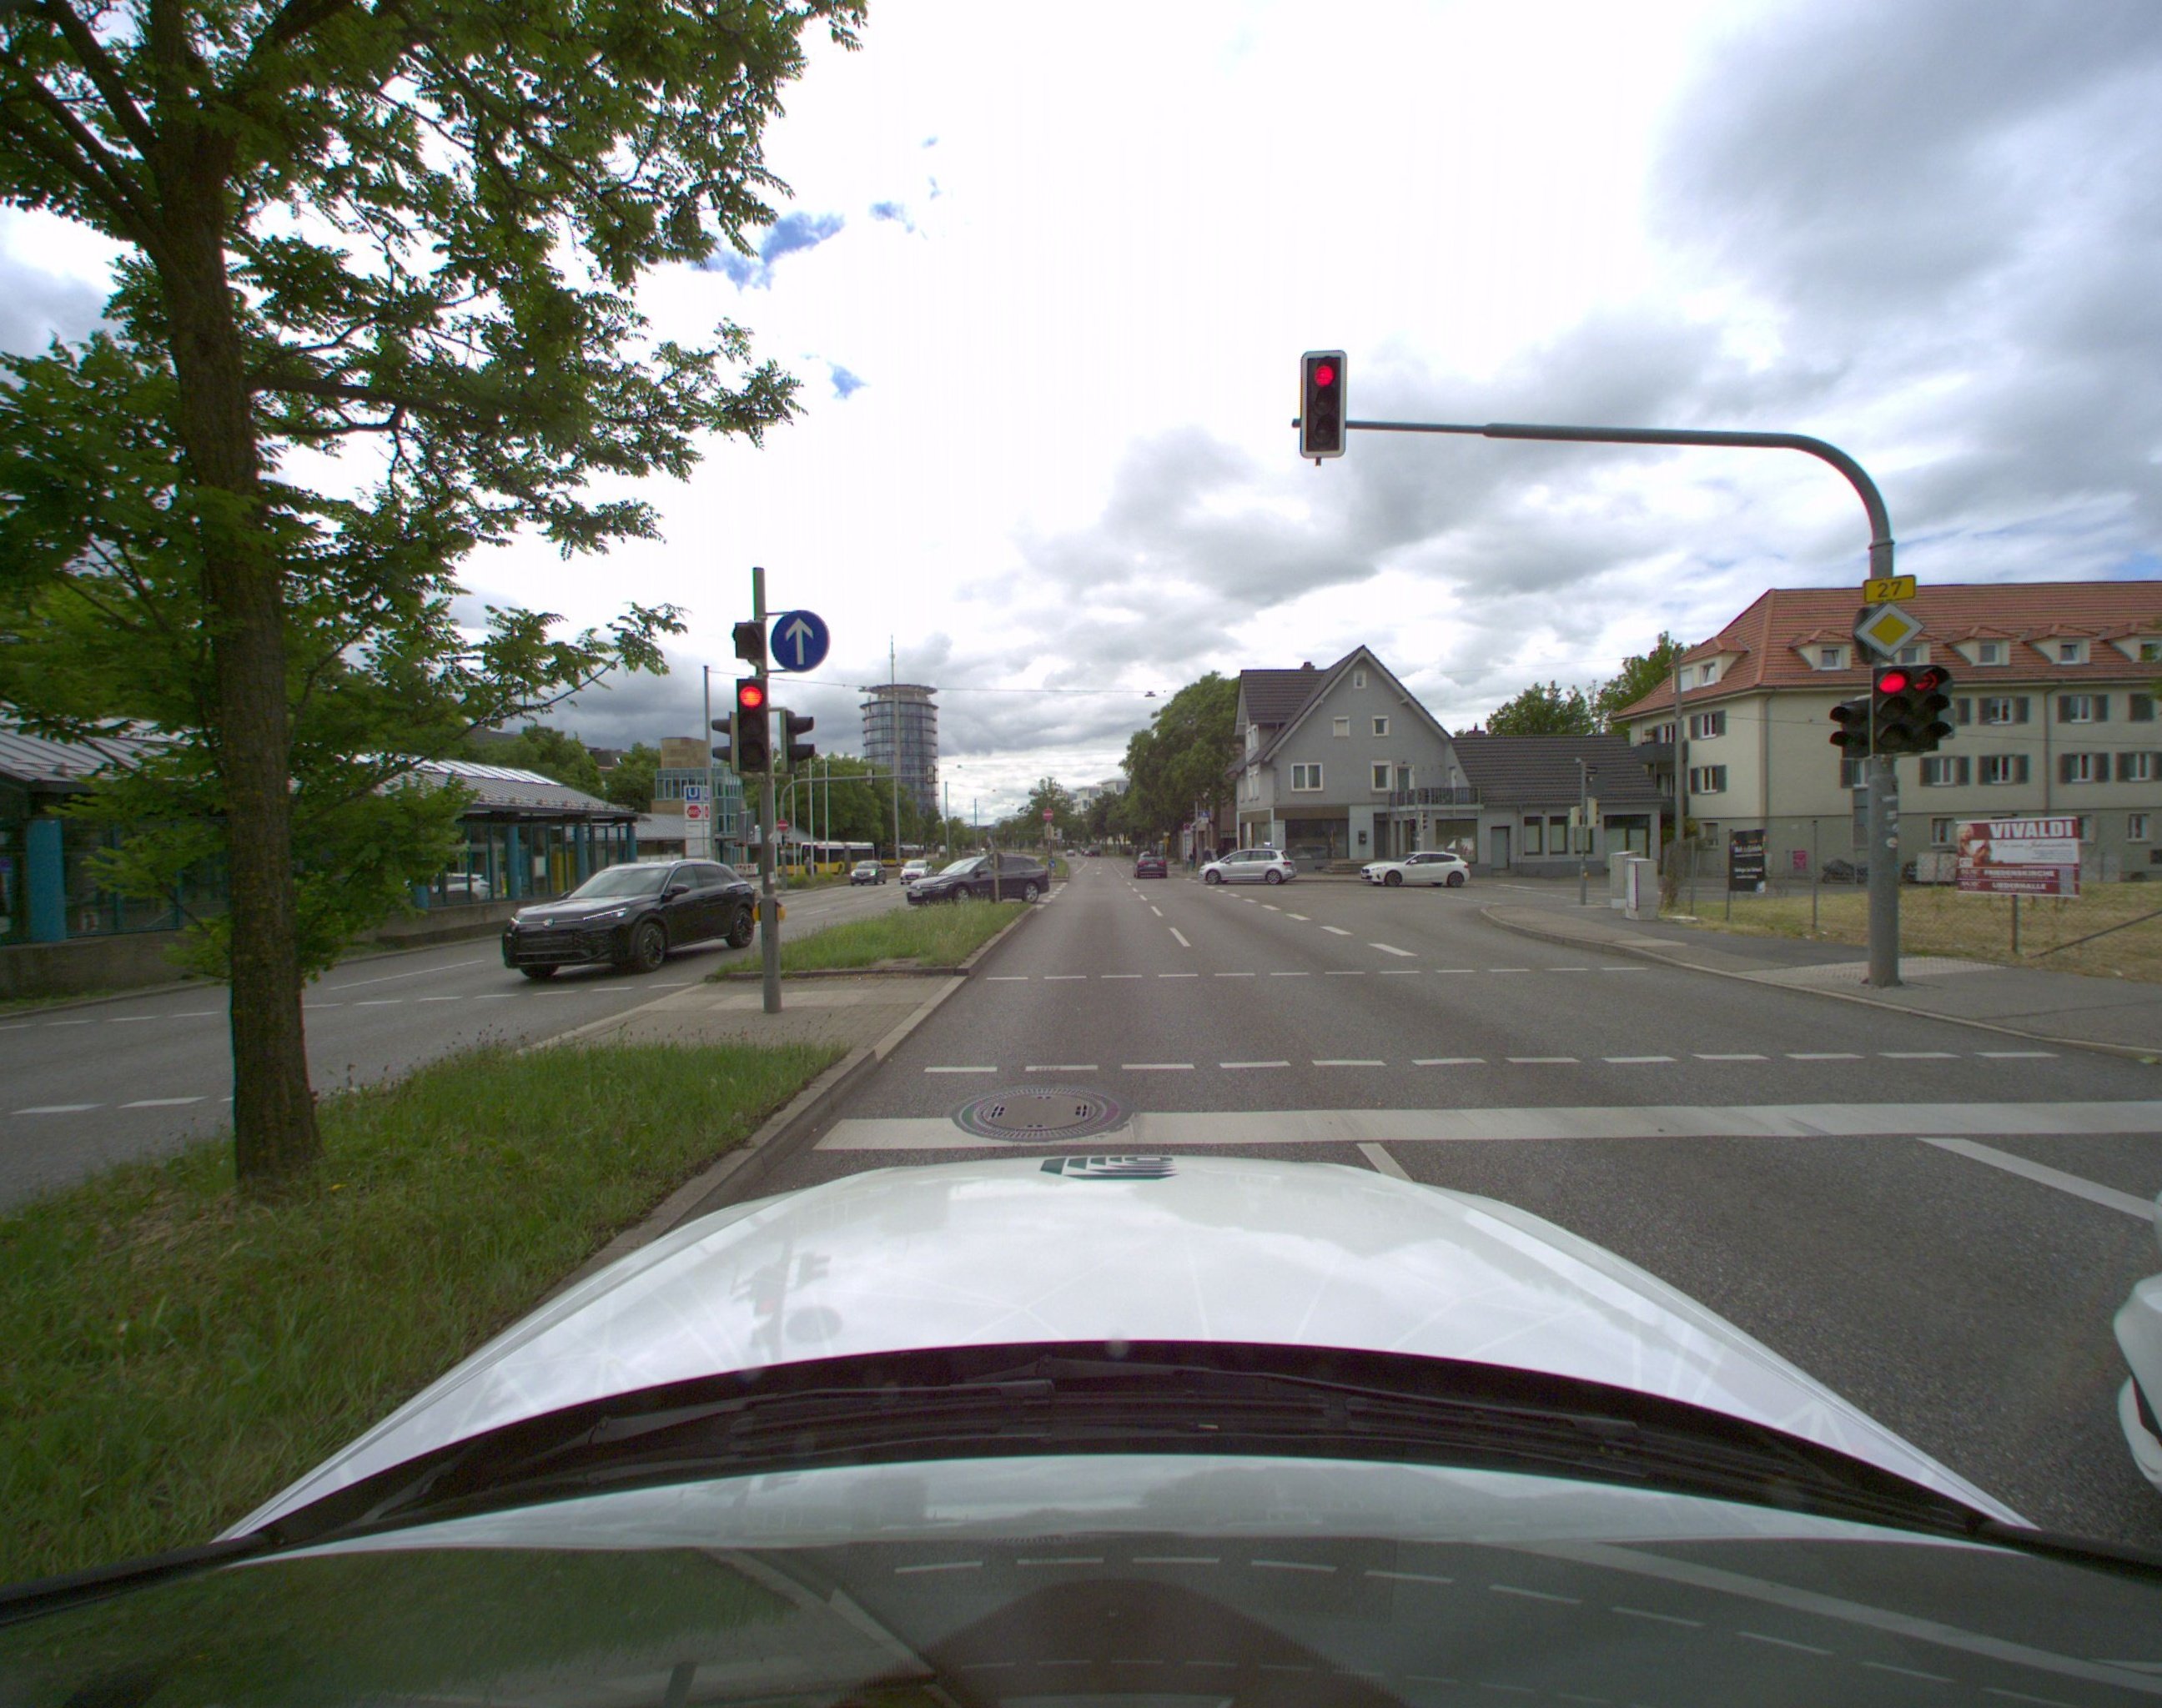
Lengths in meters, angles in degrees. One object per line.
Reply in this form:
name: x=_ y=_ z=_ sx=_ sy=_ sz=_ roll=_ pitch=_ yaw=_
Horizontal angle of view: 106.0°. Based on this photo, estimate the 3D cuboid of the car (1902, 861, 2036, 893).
car: x=39.815 y=1.021 z=36.588 sx=3.972 sy=1.377 sz=1.871 roll=0 pitch=0 yaw=2

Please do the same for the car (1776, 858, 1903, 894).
car: x=34.045 y=0.984 z=36.626 sx=3.972 sy=1.537 sz=1.871 roll=0 pitch=0 yaw=2

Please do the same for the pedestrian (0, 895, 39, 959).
pedestrian: x=-28.498 y=1.941 z=21.697 sx=0.520 sy=1.655 sz=0.709 roll=-2 pitch=0 yaw=-5

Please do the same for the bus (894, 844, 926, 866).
bus: x=-26.035 y=0.127 z=124.336 sx=3.134 sy=3.225 sz=7.765 roll=-2 pitch=0 yaw=0

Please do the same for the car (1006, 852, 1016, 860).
car: x=-13.665 y=0.431 z=158.298 sx=1.701 sy=1.492 sz=3.551 roll=-2 pitch=0 yaw=-8

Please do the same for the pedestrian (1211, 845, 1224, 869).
pedestrian: x=9.561 y=0.228 z=56.976 sx=0.699 sy=1.662 sz=0.874 roll=-2 pitch=0 yaw=17

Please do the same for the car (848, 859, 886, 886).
car: x=-13.489 y=1.148 z=51.543 sx=1.681 sy=1.578 sz=3.344 roll=-2 pitch=0 yaw=-4

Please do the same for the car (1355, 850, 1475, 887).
car: x=14.023 y=0.584 z=34.364 sx=4.233 sy=1.477 sz=1.998 roll=-1 pitch=0 yaw=-4

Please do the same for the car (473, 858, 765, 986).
car: x=-6.737 y=0.889 z=12.505 sx=1.826 sy=1.521 sz=4.078 roll=-2 pitch=0 yaw=5

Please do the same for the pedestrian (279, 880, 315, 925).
pedestrian: x=-27.925 y=1.710 z=29.024 sx=0.632 sy=1.571 sz=0.661 roll=0 pitch=-1 yaw=-2

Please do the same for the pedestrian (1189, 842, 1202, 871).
pedestrian: x=7.208 y=0.148 z=51.394 sx=0.702 sy=1.780 sz=0.871 roll=-2 pitch=0 yaw=5

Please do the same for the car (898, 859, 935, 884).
car: x=-10.336 y=1.056 z=51.332 sx=1.680 sy=1.462 sz=3.552 roll=-2 pitch=0 yaw=-3

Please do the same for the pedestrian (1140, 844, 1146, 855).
pedestrian: x=11.324 y=-0.800 z=149.510 sx=0.967 sy=2.014 sz=0.981 roll=0 pitch=-1 yaw=1

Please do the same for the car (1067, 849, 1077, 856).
car: x=-1.909 y=-0.350 z=173.482 sx=1.963 sy=1.420 sz=4.017 roll=-2 pitch=0 yaw=-3

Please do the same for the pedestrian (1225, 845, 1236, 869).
pedestrian: x=10.401 y=0.191 z=56.561 sx=0.701 sy=1.662 sz=0.872 roll=-2 pitch=0 yaw=10

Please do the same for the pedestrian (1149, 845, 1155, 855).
pedestrian: x=11.027 y=-0.586 z=126.392 sx=0.649 sy=1.570 sz=0.669 roll=-2 pitch=0 yaw=-6

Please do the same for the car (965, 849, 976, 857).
car: x=-27.258 y=-0.166 z=201.227 sx=1.958 sy=2.014 sz=4.001 roll=0 pitch=-1 yaw=2

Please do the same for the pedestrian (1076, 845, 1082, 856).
pedestrian: x=-0.377 y=-0.855 z=199.437 sx=1.231 sy=2.402 sz=1.306 roll=-2 pitch=0 yaw=-8

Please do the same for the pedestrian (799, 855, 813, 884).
pedestrian: x=-18.681 y=1.051 z=55.324 sx=0.658 sy=1.897 sz=0.686 roll=-2 pitch=0 yaw=1

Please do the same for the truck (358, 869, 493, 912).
truck: x=-26.498 y=1.436 z=33.105 sx=4.014 sy=1.517 sz=1.980 roll=-2 pitch=0 yaw=-32

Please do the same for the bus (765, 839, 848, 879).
bus: x=-24.321 y=0.405 z=72.877 sx=2.975 sy=3.250 sz=10.186 roll=-2 pitch=0 yaw=6

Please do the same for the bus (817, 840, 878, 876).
bus: x=-23.349 y=0.373 z=81.877 sx=2.975 sy=3.270 sz=7.889 roll=-2 pitch=0 yaw=6

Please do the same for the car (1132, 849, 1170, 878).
car: x=3.992 y=0.536 z=46.826 sx=1.882 sy=1.494 sz=4.100 roll=-2 pitch=0 yaw=1

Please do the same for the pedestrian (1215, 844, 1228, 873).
pedestrian: x=8.667 y=0.256 z=50.120 sx=0.701 sy=1.760 sz=1.054 roll=-2 pitch=0 yaw=7

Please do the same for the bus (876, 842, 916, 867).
bus: x=-26.092 y=0.101 z=115.327 sx=3.135 sy=3.225 sz=10.282 roll=-2 pitch=0 yaw=0

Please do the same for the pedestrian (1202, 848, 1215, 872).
pedestrian: x=7.938 y=0.374 z=50.708 sx=0.702 sy=1.507 sz=0.871 roll=-2 pitch=0 yaw=4

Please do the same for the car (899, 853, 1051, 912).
car: x=-2.977 y=0.741 z=23.554 sx=1.693 sy=1.481 sz=4.315 roll=0 pitch=1 yaw=41

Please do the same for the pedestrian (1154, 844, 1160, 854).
pedestrian: x=11.805 y=-0.776 z=126.638 sx=0.649 sy=1.570 sz=0.669 roll=-2 pitch=0 yaw=-6

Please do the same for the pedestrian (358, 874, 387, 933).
pedestrian: x=-21.857 y=1.526 z=25.118 sx=0.746 sy=1.762 sz=0.534 roll=-2 pitch=0 yaw=40

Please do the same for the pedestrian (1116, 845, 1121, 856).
pedestrian: x=8.244 y=-0.737 z=178.073 sx=0.930 sy=2.308 sz=1.008 roll=0 pitch=-1 yaw=-8

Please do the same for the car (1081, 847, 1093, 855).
car: x=1.291 y=-0.552 z=174.116 sx=2.246 sy=1.647 sz=4.927 roll=-2 pitch=0 yaw=-3

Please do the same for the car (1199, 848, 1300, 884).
car: x=7.498 y=0.513 z=36.219 sx=4.064 sy=1.540 sz=1.839 roll=0 pitch=0 yaw=23

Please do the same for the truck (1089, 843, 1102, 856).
truck: x=2.757 y=-0.813 z=156.681 sx=2.246 sy=2.416 sz=4.928 roll=-1 pitch=0 yaw=-3

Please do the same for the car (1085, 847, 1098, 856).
car: x=2.099 y=-0.469 z=165.294 sx=2.246 sy=1.757 sz=4.928 roll=-2 pitch=0 yaw=-3

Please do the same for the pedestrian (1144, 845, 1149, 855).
pedestrian: x=10.193 y=-0.591 z=126.626 sx=0.649 sy=1.570 sz=0.669 roll=-2 pitch=0 yaw=-6
